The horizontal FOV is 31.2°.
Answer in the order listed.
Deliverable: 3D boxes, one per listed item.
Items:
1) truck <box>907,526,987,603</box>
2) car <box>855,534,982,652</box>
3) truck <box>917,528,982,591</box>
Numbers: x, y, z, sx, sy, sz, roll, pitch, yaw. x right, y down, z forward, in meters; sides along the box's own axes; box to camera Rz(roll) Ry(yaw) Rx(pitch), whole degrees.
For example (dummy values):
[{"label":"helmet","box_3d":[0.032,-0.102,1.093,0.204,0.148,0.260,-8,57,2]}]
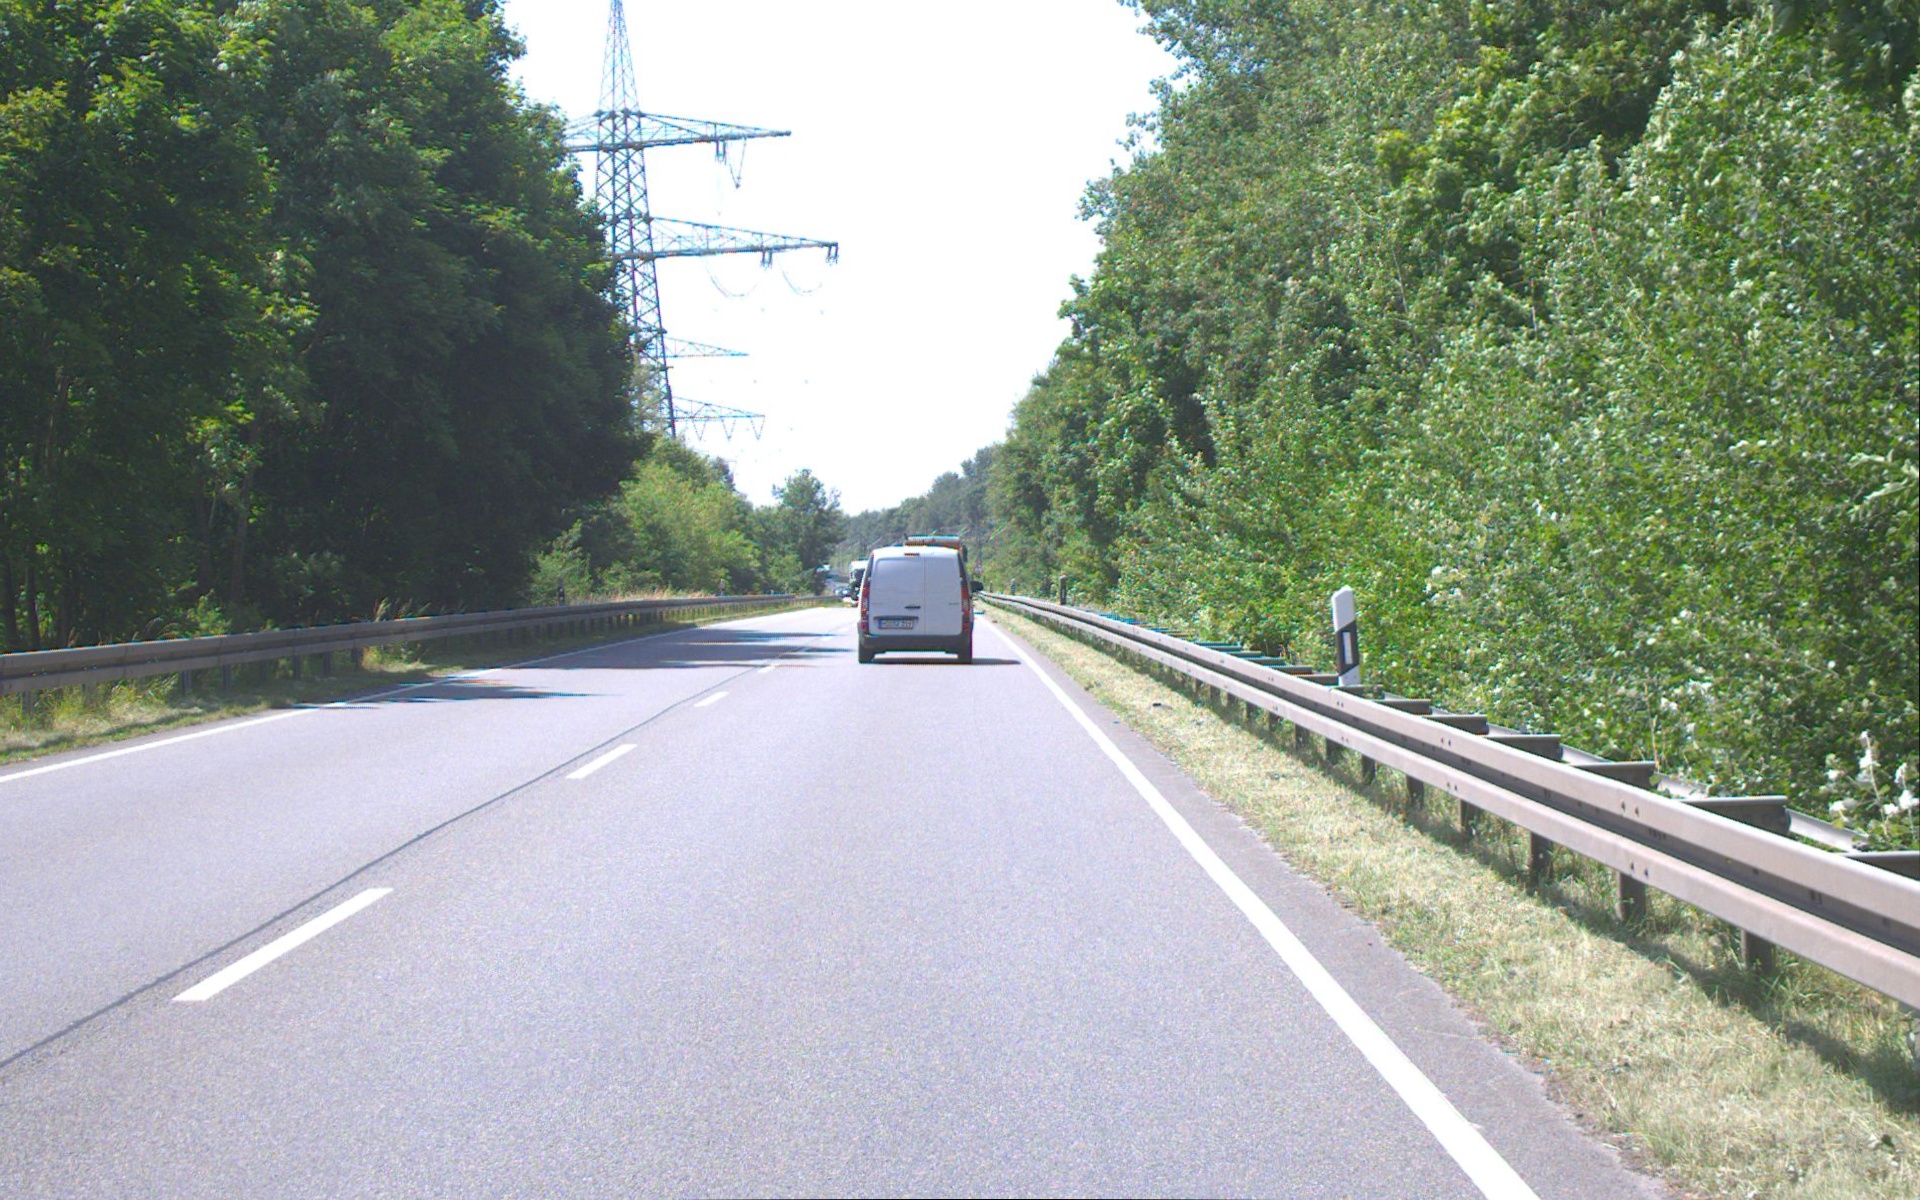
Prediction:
[{"label":"truck","box_3d":[-0.599,-1.622,149.791,3.296,3.161,14.405,1,1,-1]},{"label":"car","box_3d":[-0.634,-0.140,53.359,1.875,1.735,4.000,1,1,0]},{"label":"truck","box_3d":[-0.716,-2.647,218.280,3.402,3.841,16.820,1,1,-2]}]
